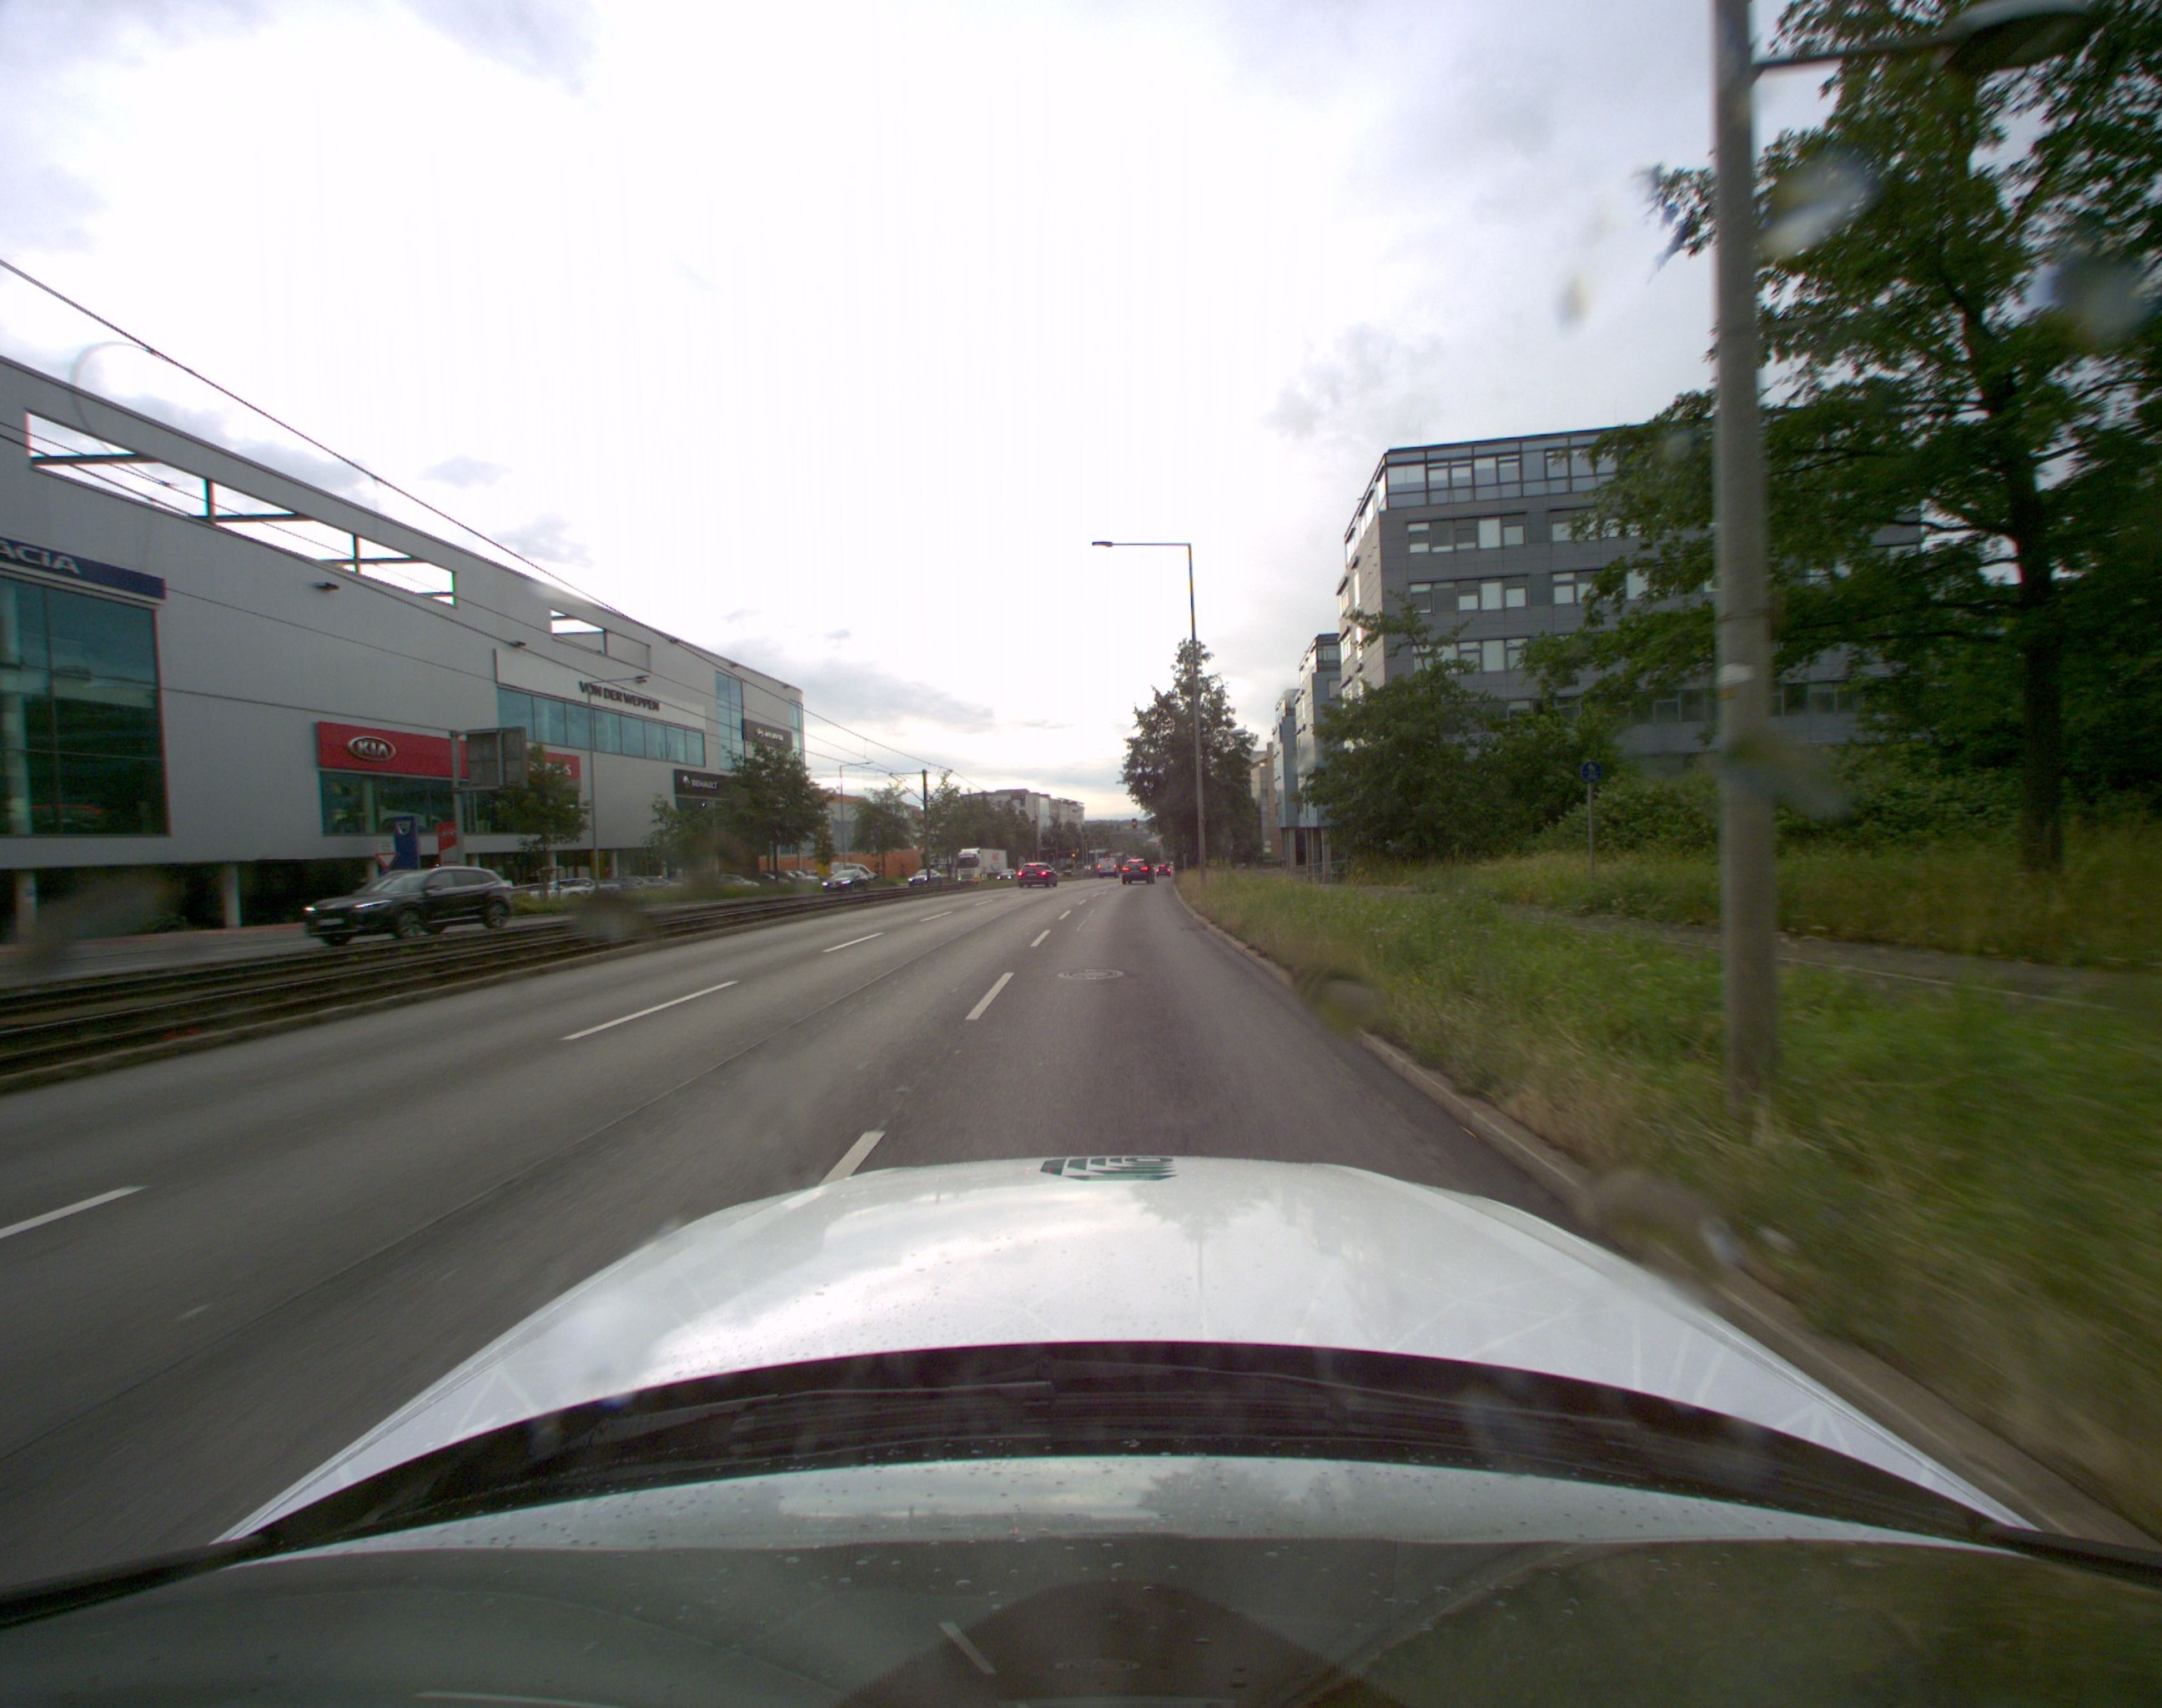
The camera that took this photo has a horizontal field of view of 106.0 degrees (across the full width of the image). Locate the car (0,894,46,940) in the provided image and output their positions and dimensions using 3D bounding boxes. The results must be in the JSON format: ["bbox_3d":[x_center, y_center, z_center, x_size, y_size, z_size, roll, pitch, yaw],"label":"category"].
[{"bbox_3d":[-44.008,2.531,31.328,1.987,1.792,4.940,-1,-1,0],"label":"car"}]

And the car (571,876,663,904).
[{"bbox_3d":[-31.205,2.408,54.914,5.010,1.654,2.010,-2,-1,-15],"label":"car"}]

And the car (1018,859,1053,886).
[{"bbox_3d":[-2.615,1.067,47.941,1.780,1.413,4.805,-1,0,0],"label":"car"}]

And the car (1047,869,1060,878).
[{"bbox_3d":[-4.740,3.422,141.298,1.653,1.442,3.904,-1,-1,7],"label":"car"}]

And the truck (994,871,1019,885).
[{"bbox_3d":[-9.166,3.004,100.897,1.930,1.568,4.556,-4,-2,9],"label":"truck"}]

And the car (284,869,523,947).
[{"bbox_3d":[-15.699,1.185,19.255,1.798,1.616,4.388,-1,-1,3],"label":"car"}]

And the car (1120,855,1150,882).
[{"bbox_3d":[3.690,0.948,55.057,1.914,1.710,4.103,-1,0,4],"label":"car"}]

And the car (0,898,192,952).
[{"bbox_3d":[-38.545,2.711,31.855,1.986,1.725,4.943,-1,-1,2],"label":"car"}]

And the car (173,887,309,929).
[{"bbox_3d":[-44.147,2.771,42.985,1.987,1.910,4.940,-1,-1,0],"label":"car"}]

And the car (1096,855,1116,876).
[{"bbox_3d":[2.870,1.275,94.534,2.259,2.285,4.761,-1,0,1],"label":"car"}]

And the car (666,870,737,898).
[{"bbox_3d":[-29.247,2.304,62.823,4.609,1.976,2.010,-2,-1,-15],"label":"car"}]

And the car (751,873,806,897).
[{"bbox_3d":[-28.227,2.877,76.087,4.334,1.976,1.874,-2,-1,-1],"label":"car"}]

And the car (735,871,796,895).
[{"bbox_3d":[-28.335,2.622,73.231,4.587,1.976,2.019,-2,-1,-1],"label":"car"}]

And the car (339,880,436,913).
[{"bbox_3d":[-44.243,2.662,52.140,1.987,1.910,4.845,-1,-1,0],"label":"car"}]

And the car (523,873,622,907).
[{"bbox_3d":[-30.855,2.144,49.545,4.630,1.827,2.010,-2,-1,-15],"label":"car"}]

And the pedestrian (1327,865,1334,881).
[{"bbox_3d":[21.232,1.623,69.332,0.500,1.409,0.458,-1,-2,6],"label":"pedestrian"}]

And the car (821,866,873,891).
[{"bbox_3d":[-14.322,1.474,50.002,1.660,1.462,4.243,-1,-1,4],"label":"car"}]

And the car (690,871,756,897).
[{"bbox_3d":[-29.913,2.472,68.150,4.600,1.976,2.014,-2,-1,-9],"label":"car"}]

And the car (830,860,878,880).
[{"bbox_3d":[-27.192,1.887,97.697,5.298,2.313,2.015,-1,-2,-7],"label":"car"}]

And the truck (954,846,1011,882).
[{"bbox_3d":[-12.144,1.174,102.446,3.026,4.181,17.234,-1,0,7],"label":"truck"}]

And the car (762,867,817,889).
[{"bbox_3d":[-28.293,2.357,79.161,4.587,1.976,2.019,-2,-1,-1],"label":"car"}]

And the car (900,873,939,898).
[{"bbox_3d":[-13.332,2.553,67.630,2.005,1.976,4.621,-1,-1,4],"label":"car"}]

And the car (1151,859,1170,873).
[{"bbox_3d":[9.706,1.497,99.638,1.784,1.591,3.997,-3,0,-2],"label":"car"}]

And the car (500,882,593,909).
[{"bbox_3d":[-30.768,2.374,47.035,4.348,1.307,1.854,-1,-1,-29],"label":"car"}]
